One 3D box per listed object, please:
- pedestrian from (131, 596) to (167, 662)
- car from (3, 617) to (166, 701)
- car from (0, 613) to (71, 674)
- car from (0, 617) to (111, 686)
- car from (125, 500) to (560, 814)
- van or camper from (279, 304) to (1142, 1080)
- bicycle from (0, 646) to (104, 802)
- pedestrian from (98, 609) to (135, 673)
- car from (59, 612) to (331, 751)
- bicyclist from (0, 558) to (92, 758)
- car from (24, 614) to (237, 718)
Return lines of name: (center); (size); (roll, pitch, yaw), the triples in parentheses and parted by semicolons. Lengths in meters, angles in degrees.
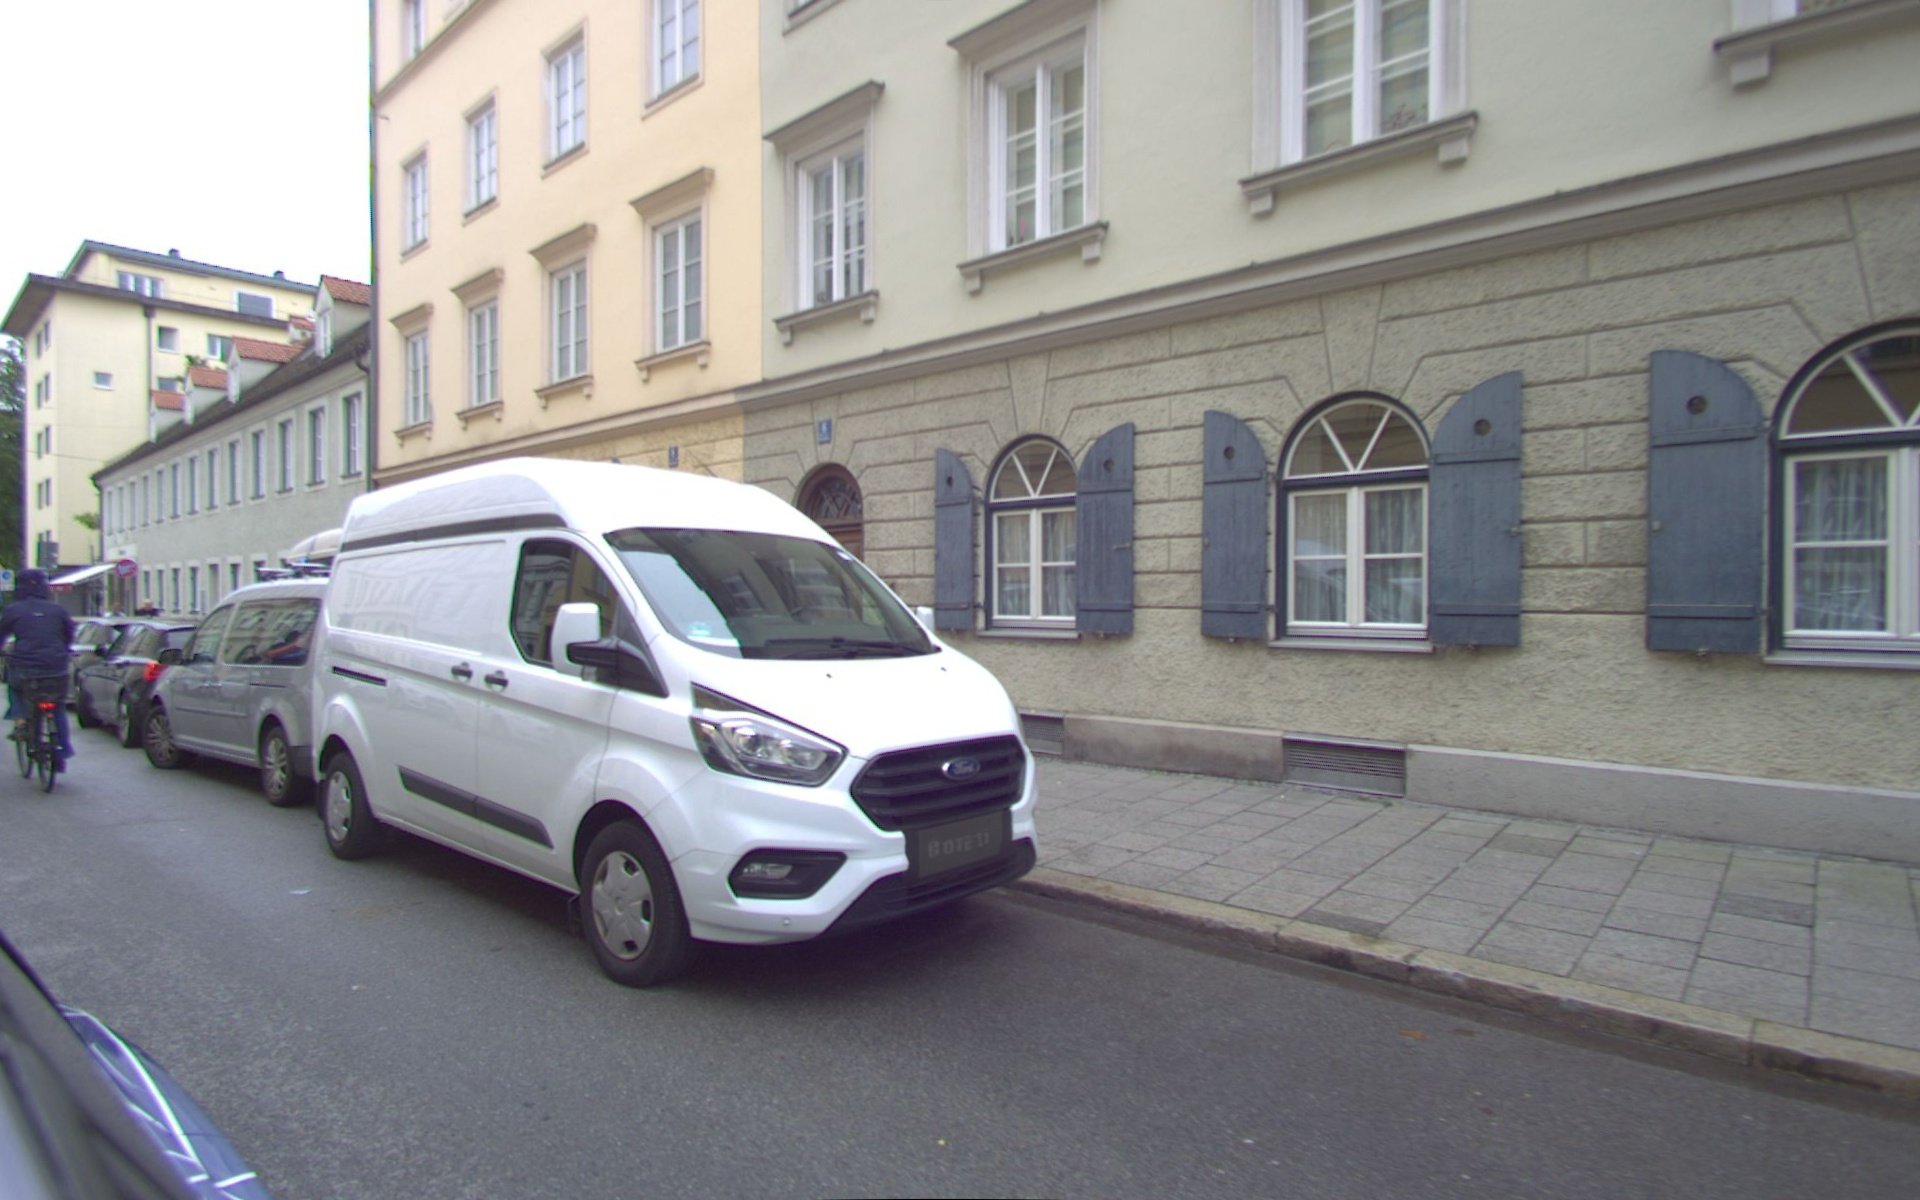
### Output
pedestrian: (-21.388, 0.750, 26.696); (0.805, 1.711, 0.574); (-1, -1, 39)
car: (-17.266, 1.076, 19.895); (4.267, 1.412, 1.838); (-1, 0, 41)
car: (-25.357, 1.136, 27.287); (3.420, 1.526, 1.553); (-1, 0, 39)
car: (-21.309, 1.131, 23.509); (4.268, 1.412, 1.838); (-1, 0, 42)
car: (-5.790, 0.421, 9.270); (4.553, 2.218, 1.840); (-1, 0, 37)
van or camper: (-1.857, 0.323, 5.637); (5.478, 2.329, 1.972); (-1, -2, 43)
bicycle: (-8.107, 1.010, 8.797); (1.998, 1.159, 0.725); (-1, 0, 41)
pedestrian: (-21.653, 1.048, 25.977); (0.662, 1.610, 0.607); (-1, -1, 39)
car: (-9.651, 0.886, 12.646); (4.266, 1.412, 1.838); (-1, 0, 41)
bicyclist: (-8.057, 0.476, 8.767); (0.852, 1.639, 0.679); (-1, 0, 41)
car: (-13.359, 0.964, 16.222); (4.265, 1.412, 1.839); (-1, 0, 39)
